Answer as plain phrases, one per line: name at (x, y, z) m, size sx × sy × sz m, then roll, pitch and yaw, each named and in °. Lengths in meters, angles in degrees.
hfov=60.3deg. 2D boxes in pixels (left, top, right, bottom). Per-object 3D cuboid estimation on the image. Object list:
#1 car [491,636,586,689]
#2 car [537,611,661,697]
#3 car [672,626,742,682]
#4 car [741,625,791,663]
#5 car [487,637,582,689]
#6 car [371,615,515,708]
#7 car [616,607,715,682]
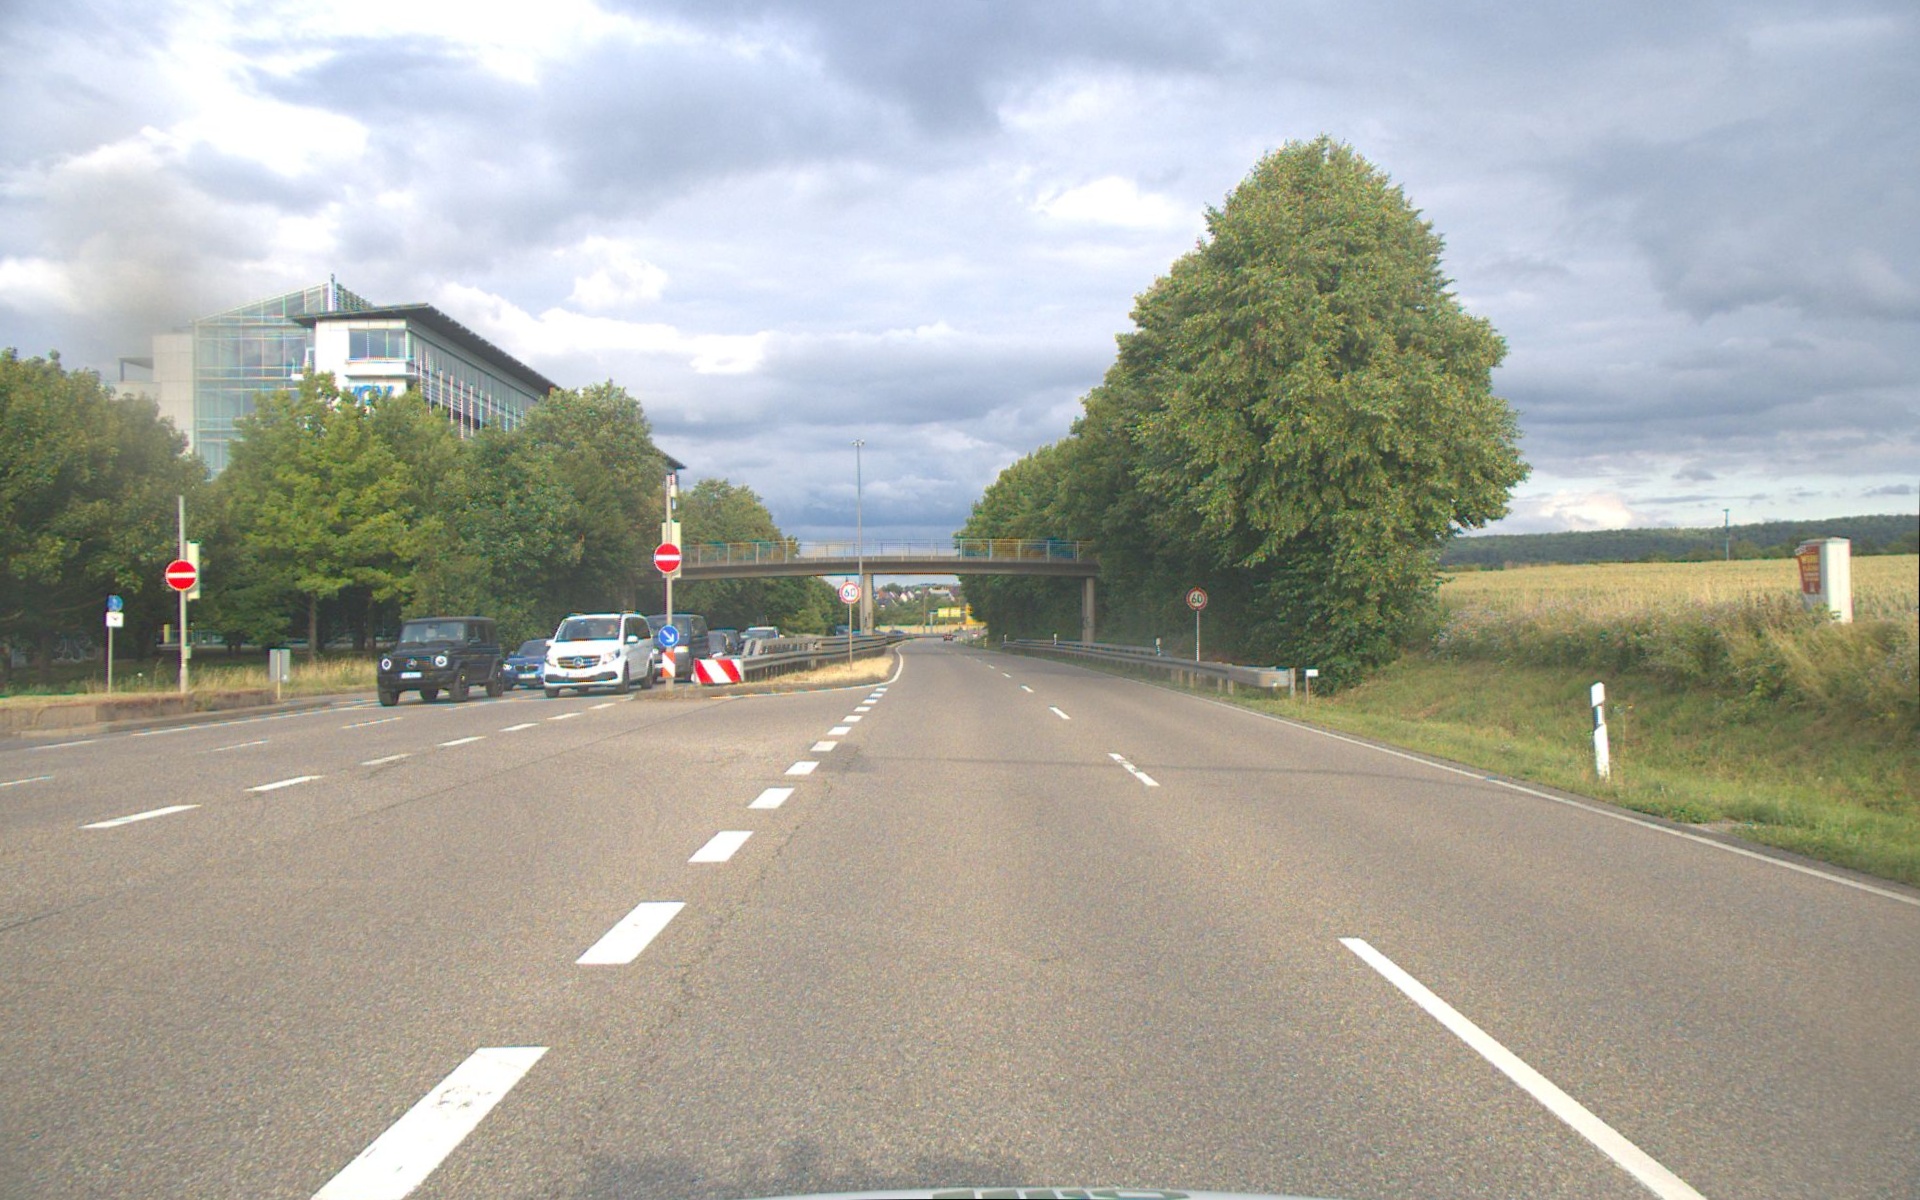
car at (-11.994, 1.756, 47.334) m, size 1.614 × 1.412 × 4.185 m, roll -1°, pitch -1°, yaw 0°
car at (-8.680, 1.277, 40.256) m, size 1.895 × 1.905 × 5.345 m, roll -2°, pitch -1°, yaw -1°
car at (-8.529, 1.794, 56.043) m, size 1.678 × 1.616 × 4.553 m, roll -5°, pitch 0°, yaw -2°
car at (-8.942, 2.029, 76.459) m, size 1.786 × 1.612 × 4.788 m, roll -3°, pitch -1°, yaw -2°
car at (-12.124, 1.768, 47.311) m, size 1.687 × 1.261 × 3.999 m, roll -4°, pitch -1°, yaw -1°
car at (-12.281, 1.425, 39.630) m, size 1.895 × 2.025 × 5.089 m, roll -2°, pitch -1°, yaw -1°
car at (-8.515, 1.273, 48.296) m, size 1.860 × 1.950 × 5.050 m, roll -4°, pitch -1°, yaw 0°
